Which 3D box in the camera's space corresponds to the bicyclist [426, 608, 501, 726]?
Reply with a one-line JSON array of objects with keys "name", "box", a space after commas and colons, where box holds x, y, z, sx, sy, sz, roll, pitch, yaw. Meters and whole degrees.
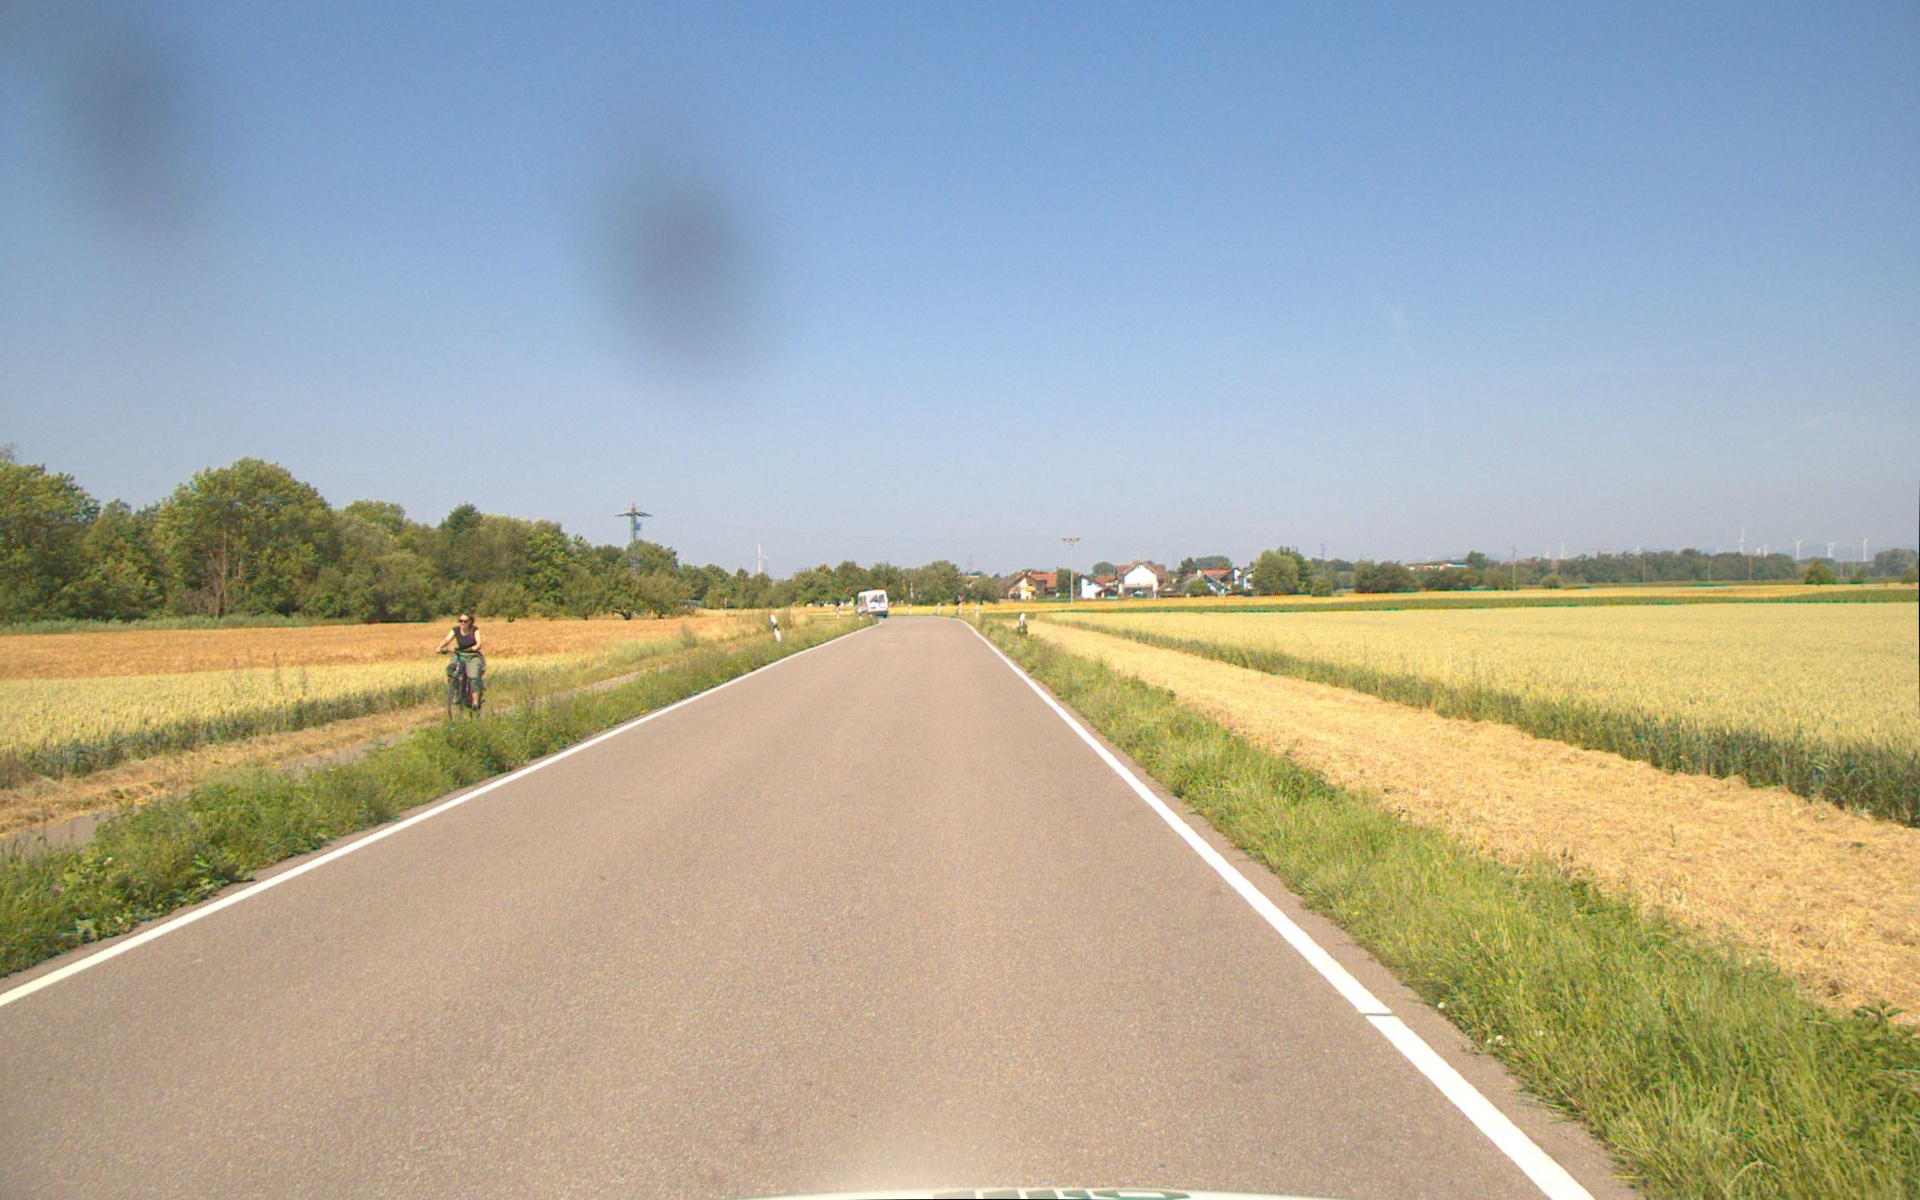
[{"name": "bicyclist", "box": [-7.447, 0.985, 24.829, 0.744, 1.702, 1.088, -2, 0, -1]}]

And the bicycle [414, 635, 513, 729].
[{"name": "bicycle", "box": [-7.460, 1.206, 24.968, 0.744, 1.257, 2.393, -3, 0, -1]}]

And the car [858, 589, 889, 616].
[{"name": "car", "box": [-7.865, 0.233, 149.987, 2.069, 2.344, 5.481, 1, 0, -11]}]
